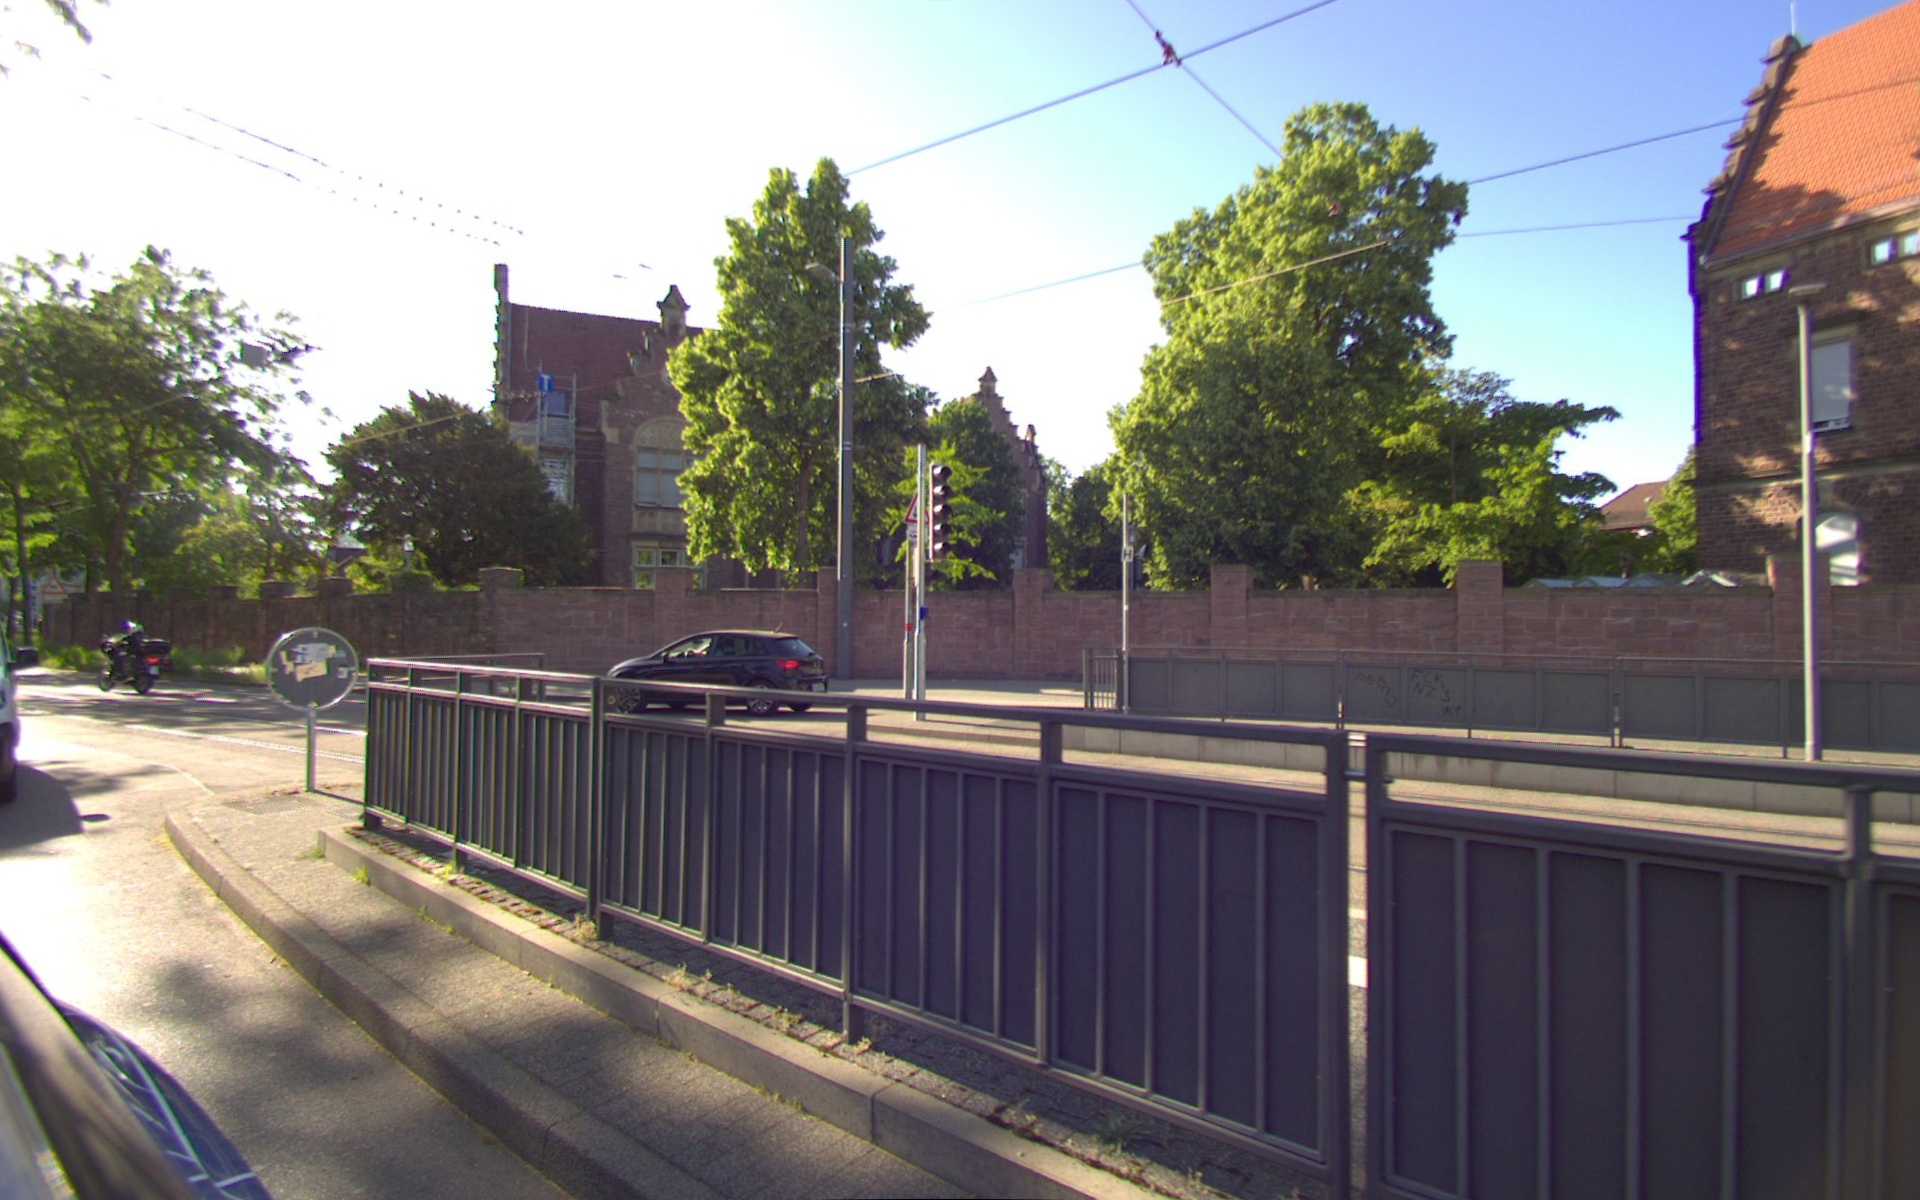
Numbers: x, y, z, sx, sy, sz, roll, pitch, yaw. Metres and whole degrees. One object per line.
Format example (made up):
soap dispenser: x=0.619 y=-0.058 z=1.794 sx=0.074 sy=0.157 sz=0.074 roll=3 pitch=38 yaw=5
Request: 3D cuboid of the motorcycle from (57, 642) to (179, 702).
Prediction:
motorcycle: x=-19.319 y=1.624 z=23.230 sx=2.557 sy=1.253 sz=1.125 roll=0 pitch=-1 yaw=23

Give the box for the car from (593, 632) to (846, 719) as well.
car: x=-4.196 y=1.280 z=17.819 sx=3.948 sy=1.414 sz=1.851 roll=-1 pitch=-3 yaw=17

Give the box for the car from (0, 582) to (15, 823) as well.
car: x=-9.331 y=0.797 z=8.525 sx=4.336 sy=1.812 sz=1.807 roll=-1 pitch=0 yaw=44

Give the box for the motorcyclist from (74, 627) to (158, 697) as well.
motorcyclist: x=-19.401 y=1.407 z=23.276 sx=1.048 sy=1.536 sz=1.119 roll=0 pitch=-1 yaw=23
